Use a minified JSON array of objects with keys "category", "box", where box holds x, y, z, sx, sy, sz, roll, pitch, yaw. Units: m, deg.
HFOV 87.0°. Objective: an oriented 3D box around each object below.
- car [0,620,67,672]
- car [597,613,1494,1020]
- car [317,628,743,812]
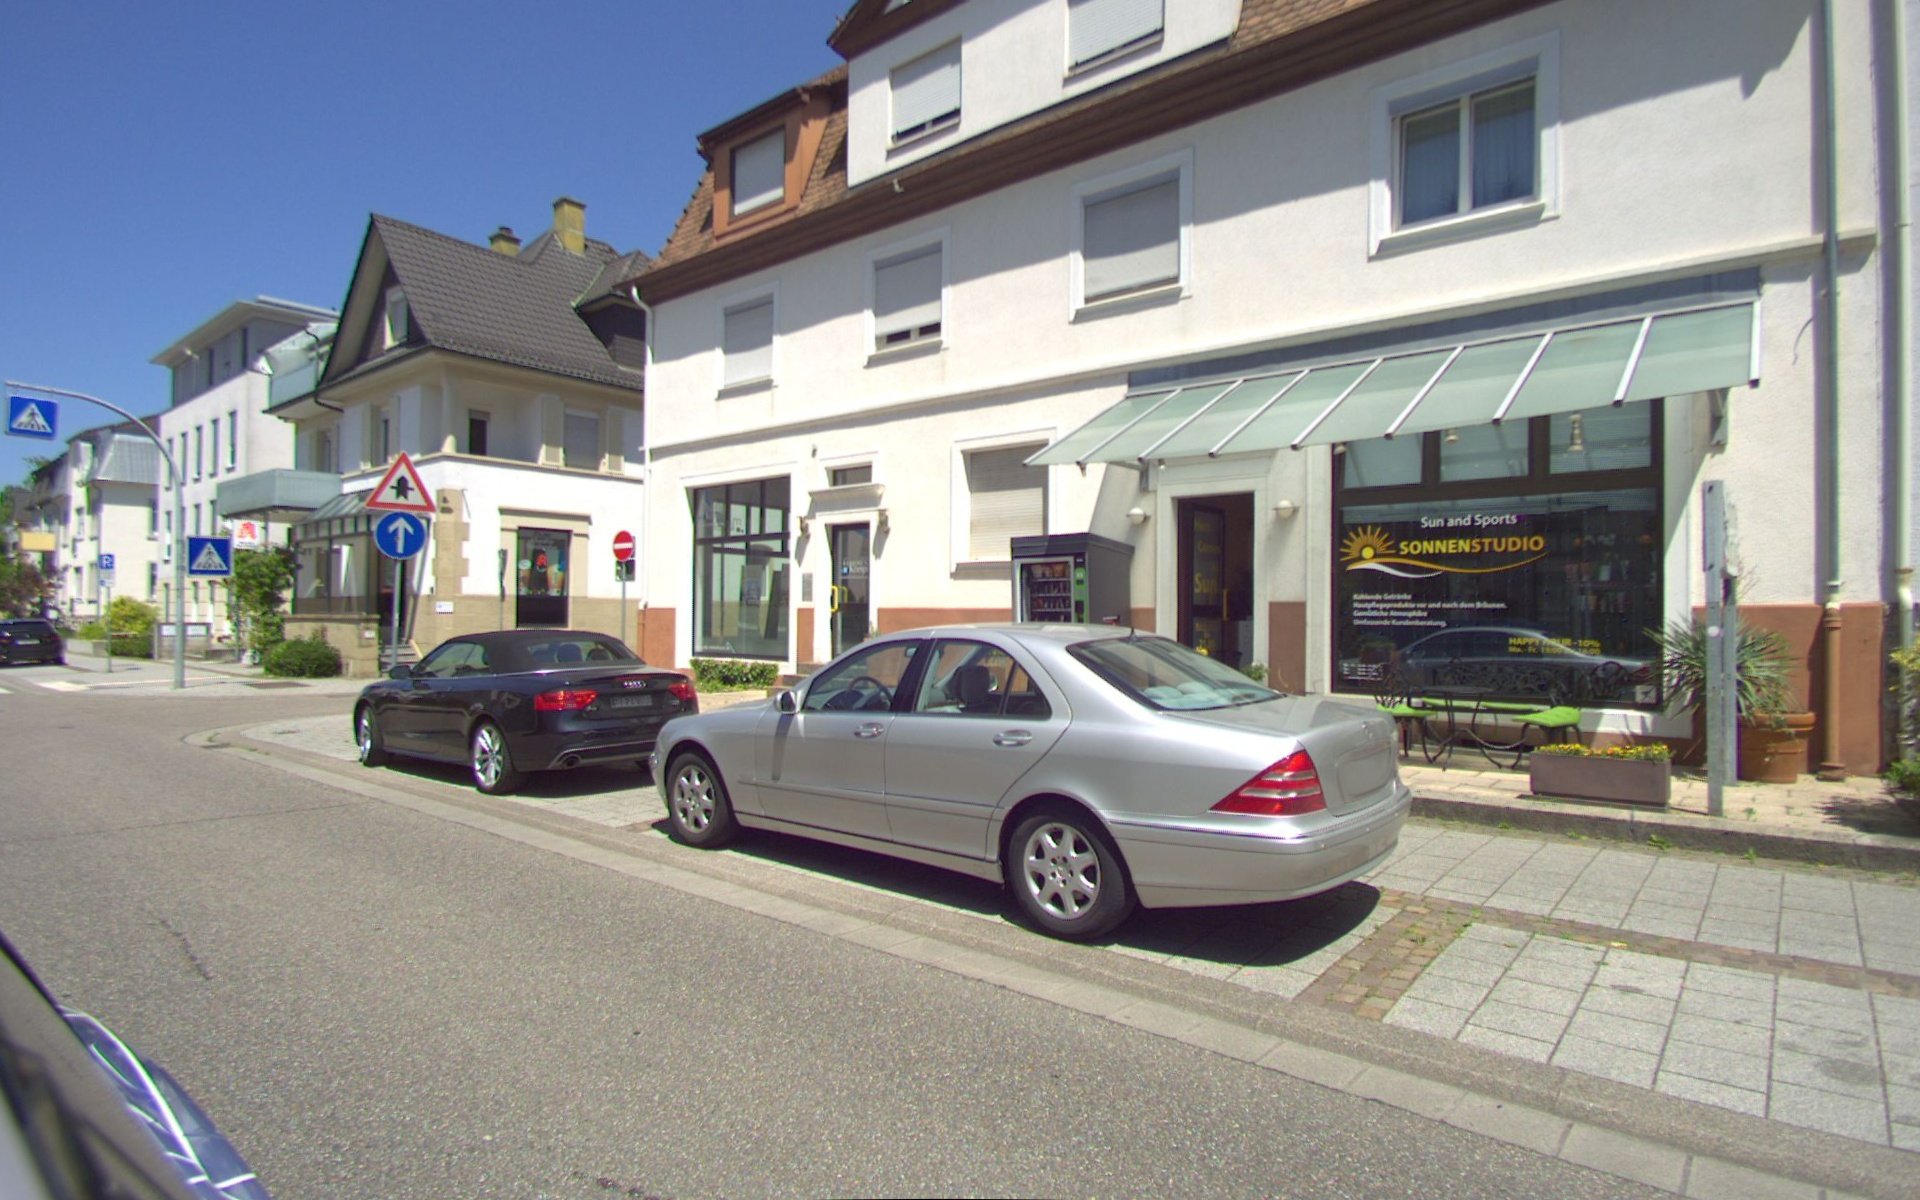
[{"category":"car","box":[-30.076,1.415,32.139,5.146,1.463,1.897,-1,1,41]},{"category":"car","box":[0.067,0.835,6.186,5.355,1.463,1.960,-1,-1,41]},{"category":"car","box":[-4.511,0.985,10.162,5.095,1.384,1.922,-1,-2,41]}]
